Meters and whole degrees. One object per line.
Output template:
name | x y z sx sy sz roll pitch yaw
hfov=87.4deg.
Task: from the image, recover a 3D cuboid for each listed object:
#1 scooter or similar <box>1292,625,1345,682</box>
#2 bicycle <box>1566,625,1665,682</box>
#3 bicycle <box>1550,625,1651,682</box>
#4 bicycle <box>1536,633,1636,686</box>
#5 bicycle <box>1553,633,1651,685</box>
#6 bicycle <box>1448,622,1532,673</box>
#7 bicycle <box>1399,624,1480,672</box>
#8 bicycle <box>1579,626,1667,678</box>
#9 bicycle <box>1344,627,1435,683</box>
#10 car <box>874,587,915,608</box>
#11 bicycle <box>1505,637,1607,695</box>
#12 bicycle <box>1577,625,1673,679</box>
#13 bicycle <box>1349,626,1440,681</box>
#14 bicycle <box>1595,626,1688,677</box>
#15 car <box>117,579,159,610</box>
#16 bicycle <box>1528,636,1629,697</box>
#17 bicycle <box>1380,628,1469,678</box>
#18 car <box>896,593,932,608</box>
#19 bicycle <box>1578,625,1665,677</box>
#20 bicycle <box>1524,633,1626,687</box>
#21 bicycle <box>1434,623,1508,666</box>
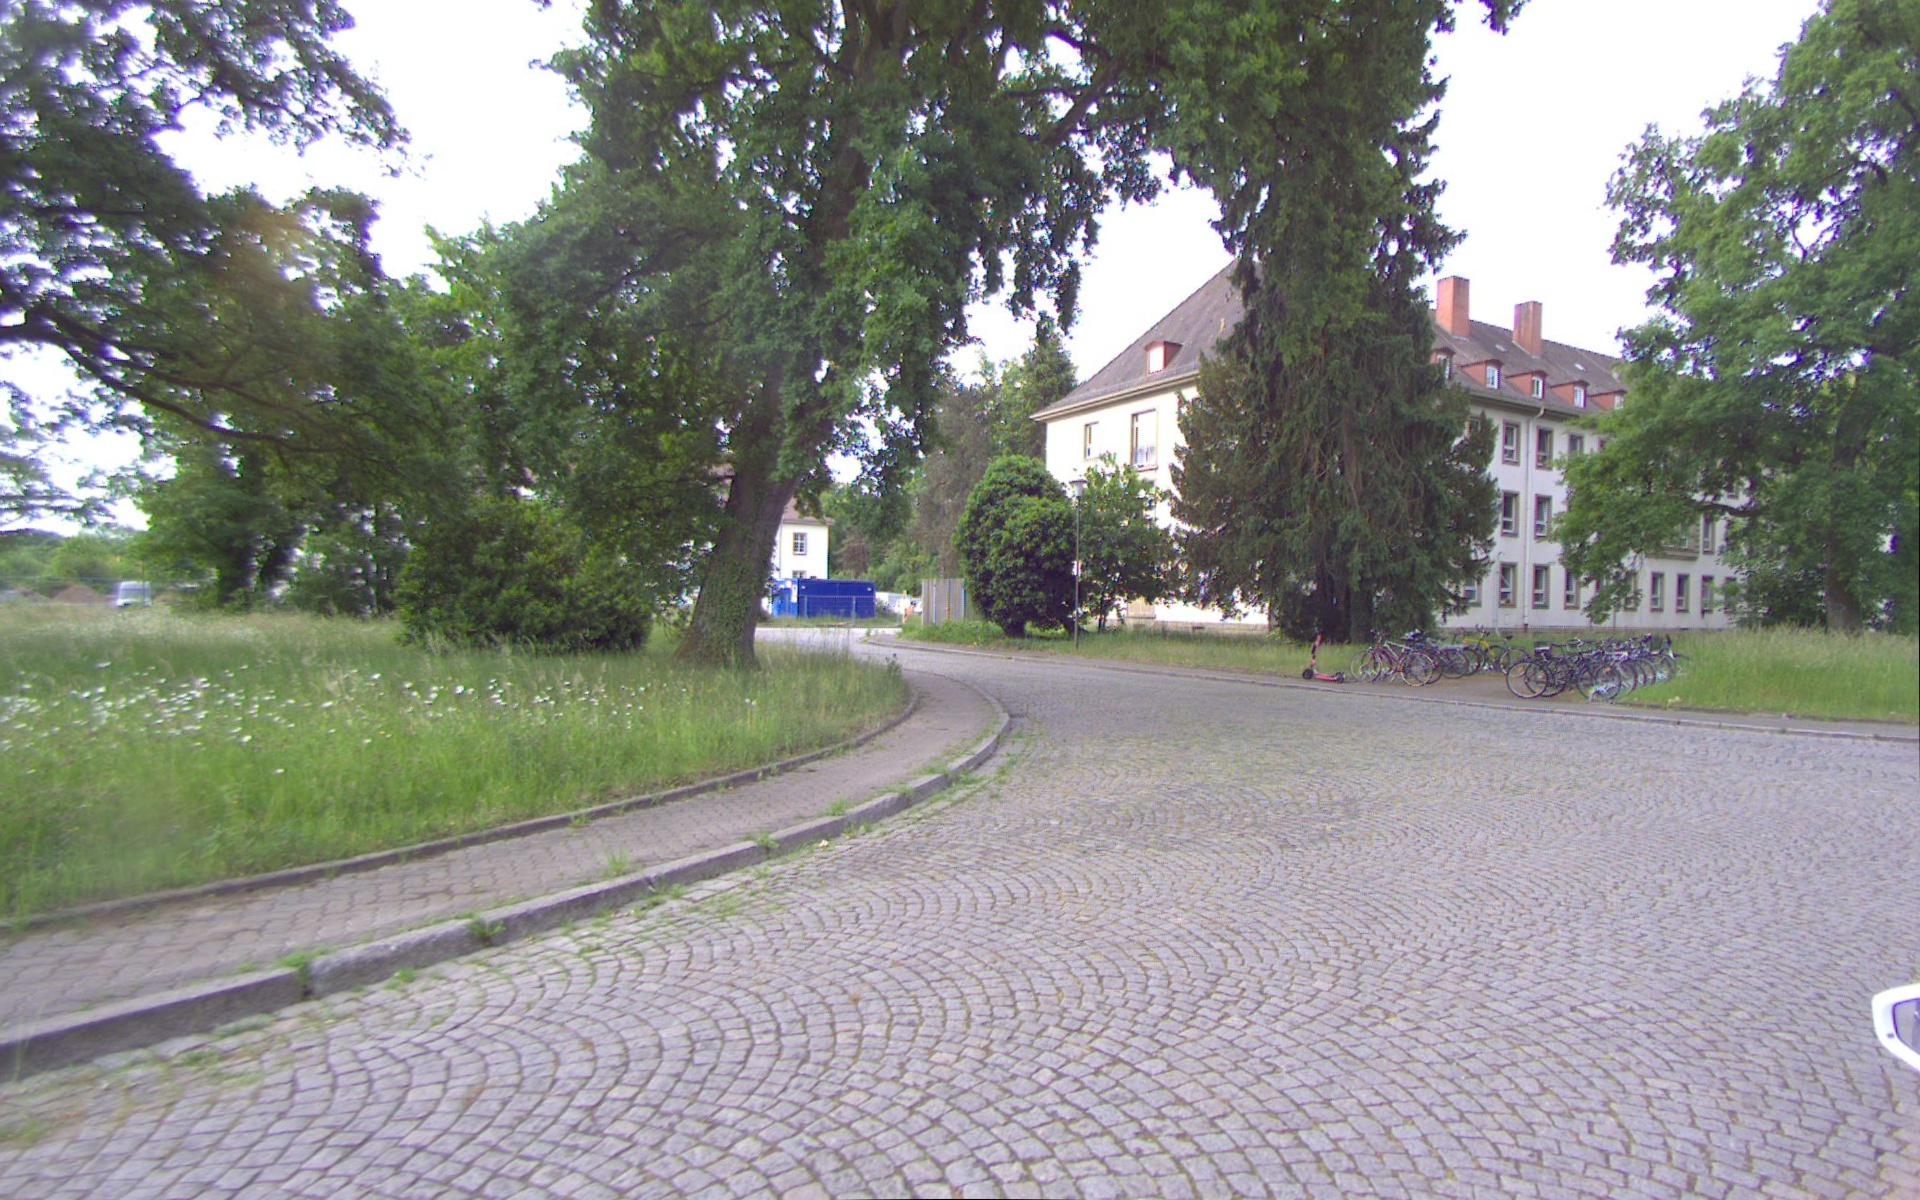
scooter or similar | 8.091 1.188 22.684 0.354 1.226 1.127 1 0 -34
bicycle | 14.150 1.137 21.709 1.738 1.126 0.476 1 0 39
bicycle | 13.674 1.123 21.477 1.741 1.126 0.475 1 0 44
bicycle | 12.557 1.177 20.177 1.645 1.021 0.475 -1 -2 44
bicycle | 13.174 1.195 20.638 1.645 1.021 0.475 -1 -2 44
bicycle | 13.010 1.146 24.686 0.546 1.186 1.735 1 0 -38
bicycle | 11.779 1.162 24.683 1.725 1.079 0.550 1 0 35
bicycle | 15.223 1.174 23.101 0.438 1.126 1.632 1 0 -40
bicycle | 9.408 1.177 22.040 1.744 1.129 0.548 1 0 43
car | -6.874 -0.255 105.823 1.732 2.070 5.412 1 0 28
bicycle | 10.984 1.196 18.552 1.593 1.021 0.477 0 -1 29
bicycle | 14.999 1.162 22.702 1.741 1.126 0.475 1 0 44
bicycle | 9.693 1.182 22.445 1.779 1.129 0.548 1 0 43
bicycle | 16.093 1.194 23.754 1.741 1.126 0.475 1 0 44
car | -60.631 -0.398 74.154 2.054 2.179 4.848 1 0 -36
bicycle | 11.600 1.230 18.884 1.593 1.088 0.477 0 -1 29
bicycle | 10.910 1.219 23.615 1.795 1.079 0.616 1 0 35
car | -4.717 0.081 103.838 1.732 1.522 4.438 1 0 28
bicycle | 15.511 1.182 23.579 0.438 1.126 1.632 1 0 -40
bicycle | 12.089 1.163 19.775 1.645 1.021 0.475 -1 -2 44
bicycle | 13.545 1.160 26.650 0.548 1.056 1.661 1 0 -44
